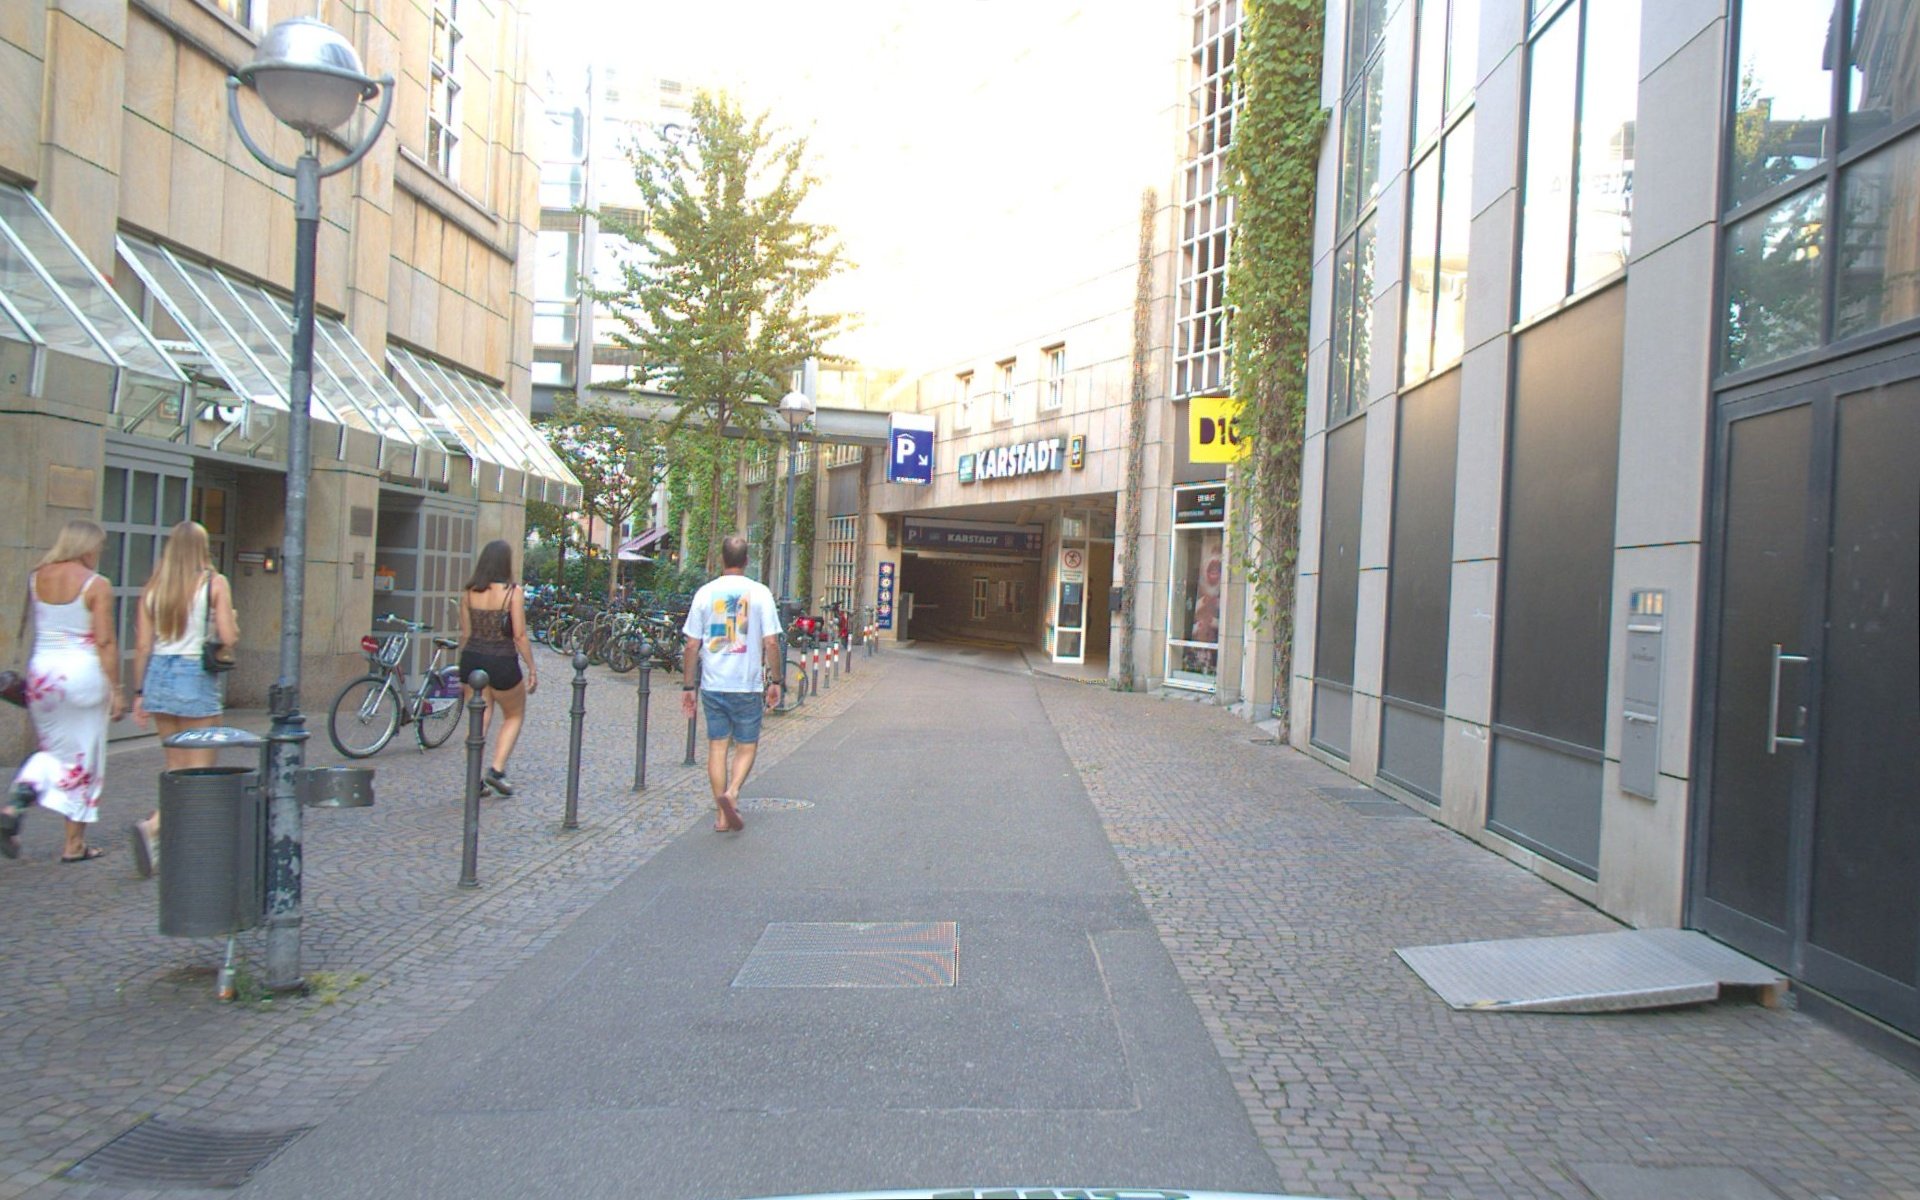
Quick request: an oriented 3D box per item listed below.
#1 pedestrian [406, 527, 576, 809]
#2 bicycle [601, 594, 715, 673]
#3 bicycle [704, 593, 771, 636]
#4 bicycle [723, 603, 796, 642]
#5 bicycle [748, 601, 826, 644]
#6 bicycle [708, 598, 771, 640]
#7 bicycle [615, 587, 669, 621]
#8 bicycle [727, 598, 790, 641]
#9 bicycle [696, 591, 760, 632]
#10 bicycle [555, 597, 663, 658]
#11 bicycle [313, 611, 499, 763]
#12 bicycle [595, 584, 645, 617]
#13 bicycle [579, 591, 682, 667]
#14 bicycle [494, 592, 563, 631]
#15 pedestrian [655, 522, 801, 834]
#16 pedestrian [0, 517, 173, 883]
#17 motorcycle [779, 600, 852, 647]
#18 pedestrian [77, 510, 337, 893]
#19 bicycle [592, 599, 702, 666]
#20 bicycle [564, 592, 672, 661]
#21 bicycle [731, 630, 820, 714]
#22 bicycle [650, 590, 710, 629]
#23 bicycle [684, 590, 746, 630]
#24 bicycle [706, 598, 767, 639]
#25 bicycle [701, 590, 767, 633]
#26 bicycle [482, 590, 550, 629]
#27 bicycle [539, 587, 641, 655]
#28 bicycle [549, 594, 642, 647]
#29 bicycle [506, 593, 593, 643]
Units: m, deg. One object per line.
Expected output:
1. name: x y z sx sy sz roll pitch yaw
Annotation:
1. pedestrian: -3.201 0.446 11.372 0.768 1.826 0.973 2 0 5
2. bicycle: -4.923 0.548 26.961 1.742 1.252 0.530 2 0 -23
3. bicycle: -6.189 0.403 46.094 1.747 1.134 0.539 2 0 -21
4. bicycle: -5.045 0.575 41.598 1.747 0.919 0.461 2 0 -21
5. bicycle: -4.264 0.562 40.747 1.821 0.999 0.461 2 0 -21
6. bicycle: -5.800 0.498 43.524 1.517 1.067 0.572 2 0 -21
7. bicycle: -11.038 0.144 57.428 1.745 1.134 0.540 2 0 -18
8. bicycle: -5.183 0.502 42.548 1.517 1.067 0.572 2 0 -21
9. bicycle: -6.794 0.327 48.369 1.747 1.134 0.539 2 0 -21
10. bicycle: -6.490 0.506 30.614 1.868 1.070 0.530 2 0 -23
11. bicycle: -4.545 0.678 13.702 0.510 1.157 1.765 2 0 16
12. bicycle: -12.868 0.018 62.619 1.747 1.211 0.583 2 0 -21
13. bicycle: -5.620 0.491 28.239 1.631 1.252 0.530 2 0 -23
14. bicycle: -11.842 0.314 45.378 1.755 1.037 0.478 2 0 -23
15. pedestrian: -1.439 0.468 10.395 0.727 1.854 0.878 2 0 0
16. pedestrian: -4.466 0.458 8.166 0.661 1.693 0.860 3 0 1
17. motorcycle: -3.413 0.554 39.122 1.638 1.069 0.461 2 0 -21
18. pedestrian: -3.702 0.473 8.214 0.790 1.759 0.948 3 0 -1
19. bicycle: -5.507 0.575 29.131 1.811 1.142 0.530 2 0 -23
20. bicycle: -6.217 0.486 30.084 1.846 1.198 0.530 2 0 -23
21. bicycle: -2.273 0.874 20.573 0.482 0.955 1.660 4 0 15
22. bicycle: -8.737 0.298 51.655 1.747 1.134 0.539 2 0 -21
23. bicycle: -7.324 0.288 49.400 1.747 1.134 0.539 2 0 -21
24. bicycle: -6.073 0.504 44.930 1.517 1.067 0.572 2 0 -21
25. bicycle: -6.442 0.322 47.168 1.747 1.134 0.539 2 0 -21
26. bicycle: -12.403 0.270 46.214 1.755 1.037 0.478 2 0 -23
27. bicycle: -6.994 0.399 31.287 1.808 1.246 0.530 2 0 -23
28. bicycle: -7.726 0.433 35.071 1.851 1.061 0.530 2 0 -23
29. bicycle: -9.137 0.406 36.828 1.799 1.061 0.530 2 0 -23
